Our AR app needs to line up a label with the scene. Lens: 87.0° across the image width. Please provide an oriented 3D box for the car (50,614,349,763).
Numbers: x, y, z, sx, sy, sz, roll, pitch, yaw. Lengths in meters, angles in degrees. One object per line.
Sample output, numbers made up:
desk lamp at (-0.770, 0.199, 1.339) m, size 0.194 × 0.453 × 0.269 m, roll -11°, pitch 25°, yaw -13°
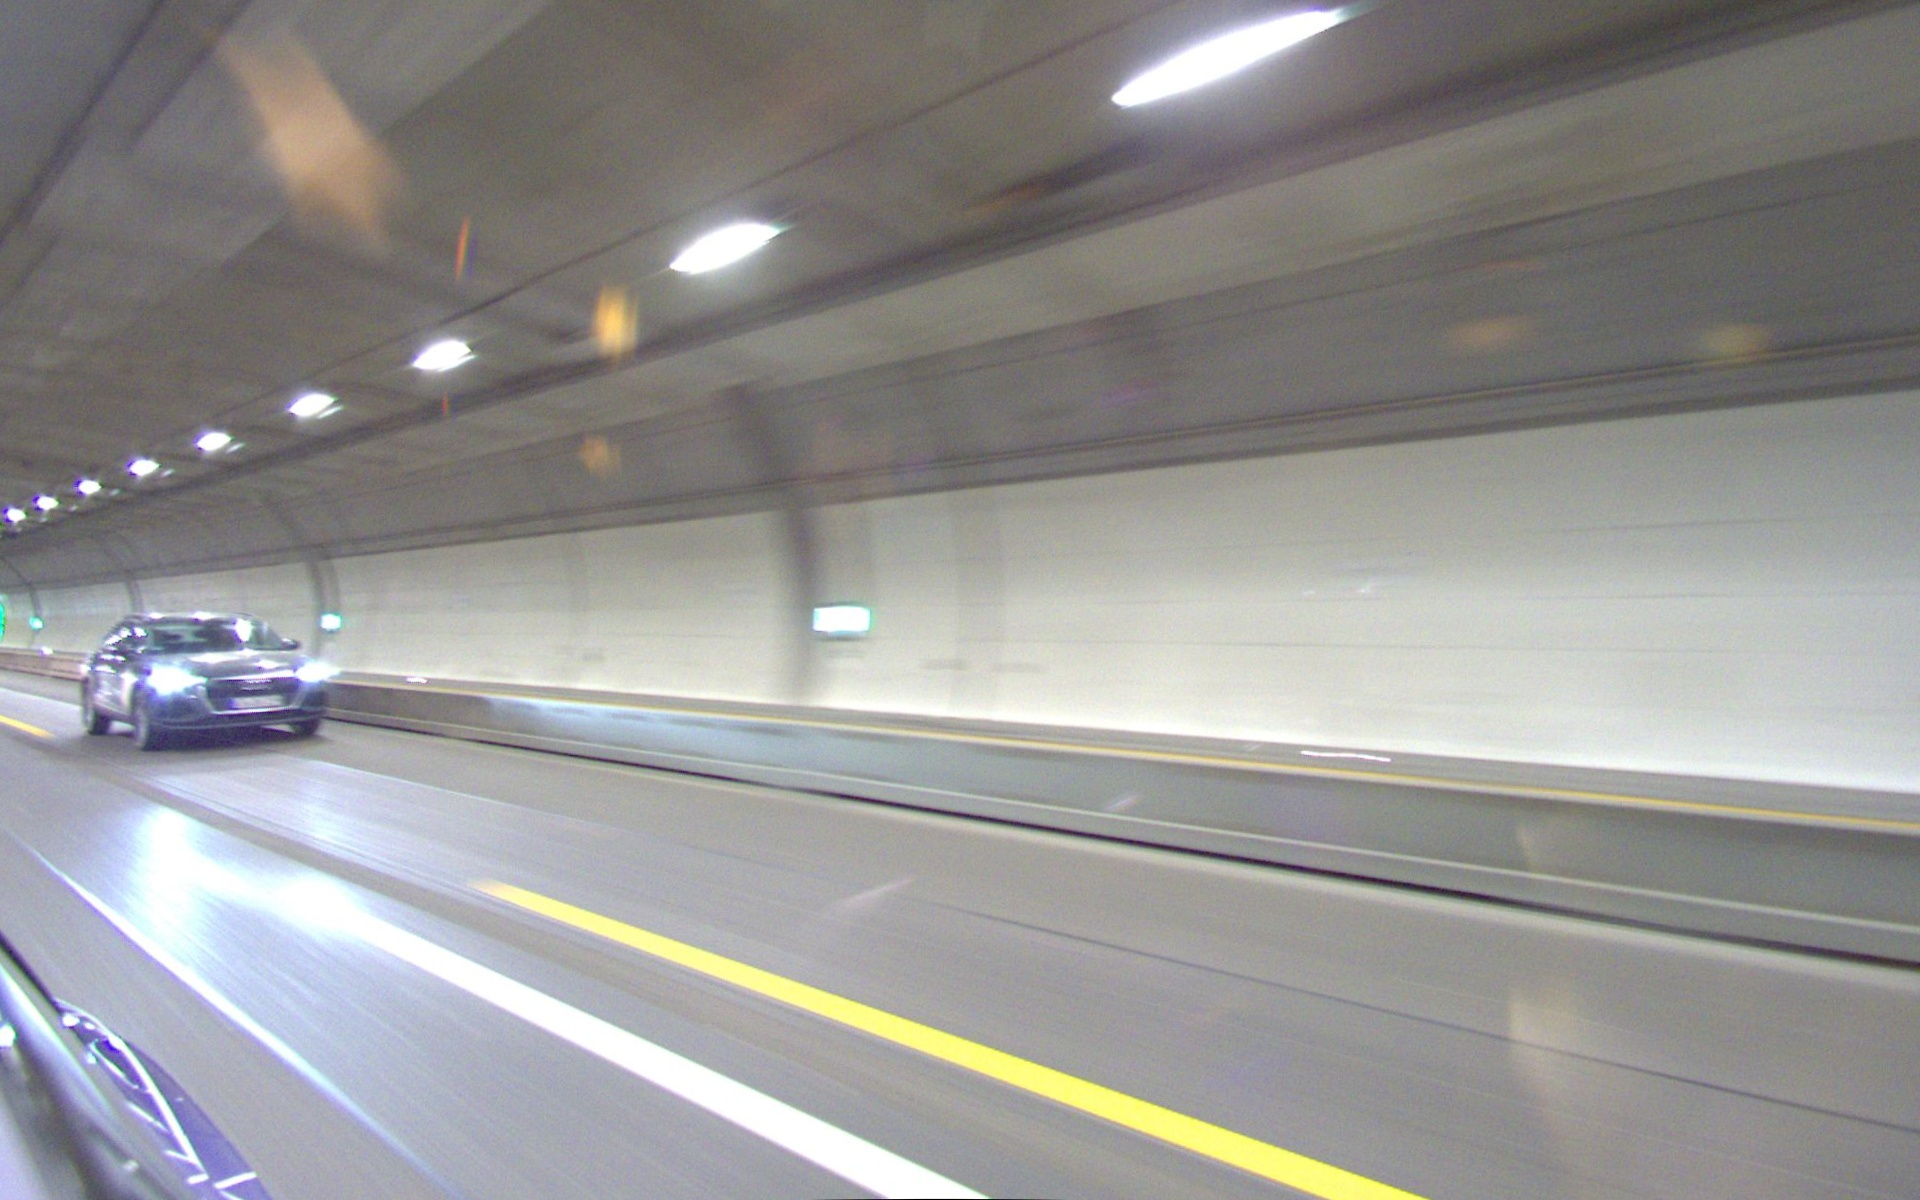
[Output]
car at (-9.896, 0.984, 13.036) m, size 4.737 × 1.552 × 1.974 m, roll -1°, pitch 0°, yaw 39°
